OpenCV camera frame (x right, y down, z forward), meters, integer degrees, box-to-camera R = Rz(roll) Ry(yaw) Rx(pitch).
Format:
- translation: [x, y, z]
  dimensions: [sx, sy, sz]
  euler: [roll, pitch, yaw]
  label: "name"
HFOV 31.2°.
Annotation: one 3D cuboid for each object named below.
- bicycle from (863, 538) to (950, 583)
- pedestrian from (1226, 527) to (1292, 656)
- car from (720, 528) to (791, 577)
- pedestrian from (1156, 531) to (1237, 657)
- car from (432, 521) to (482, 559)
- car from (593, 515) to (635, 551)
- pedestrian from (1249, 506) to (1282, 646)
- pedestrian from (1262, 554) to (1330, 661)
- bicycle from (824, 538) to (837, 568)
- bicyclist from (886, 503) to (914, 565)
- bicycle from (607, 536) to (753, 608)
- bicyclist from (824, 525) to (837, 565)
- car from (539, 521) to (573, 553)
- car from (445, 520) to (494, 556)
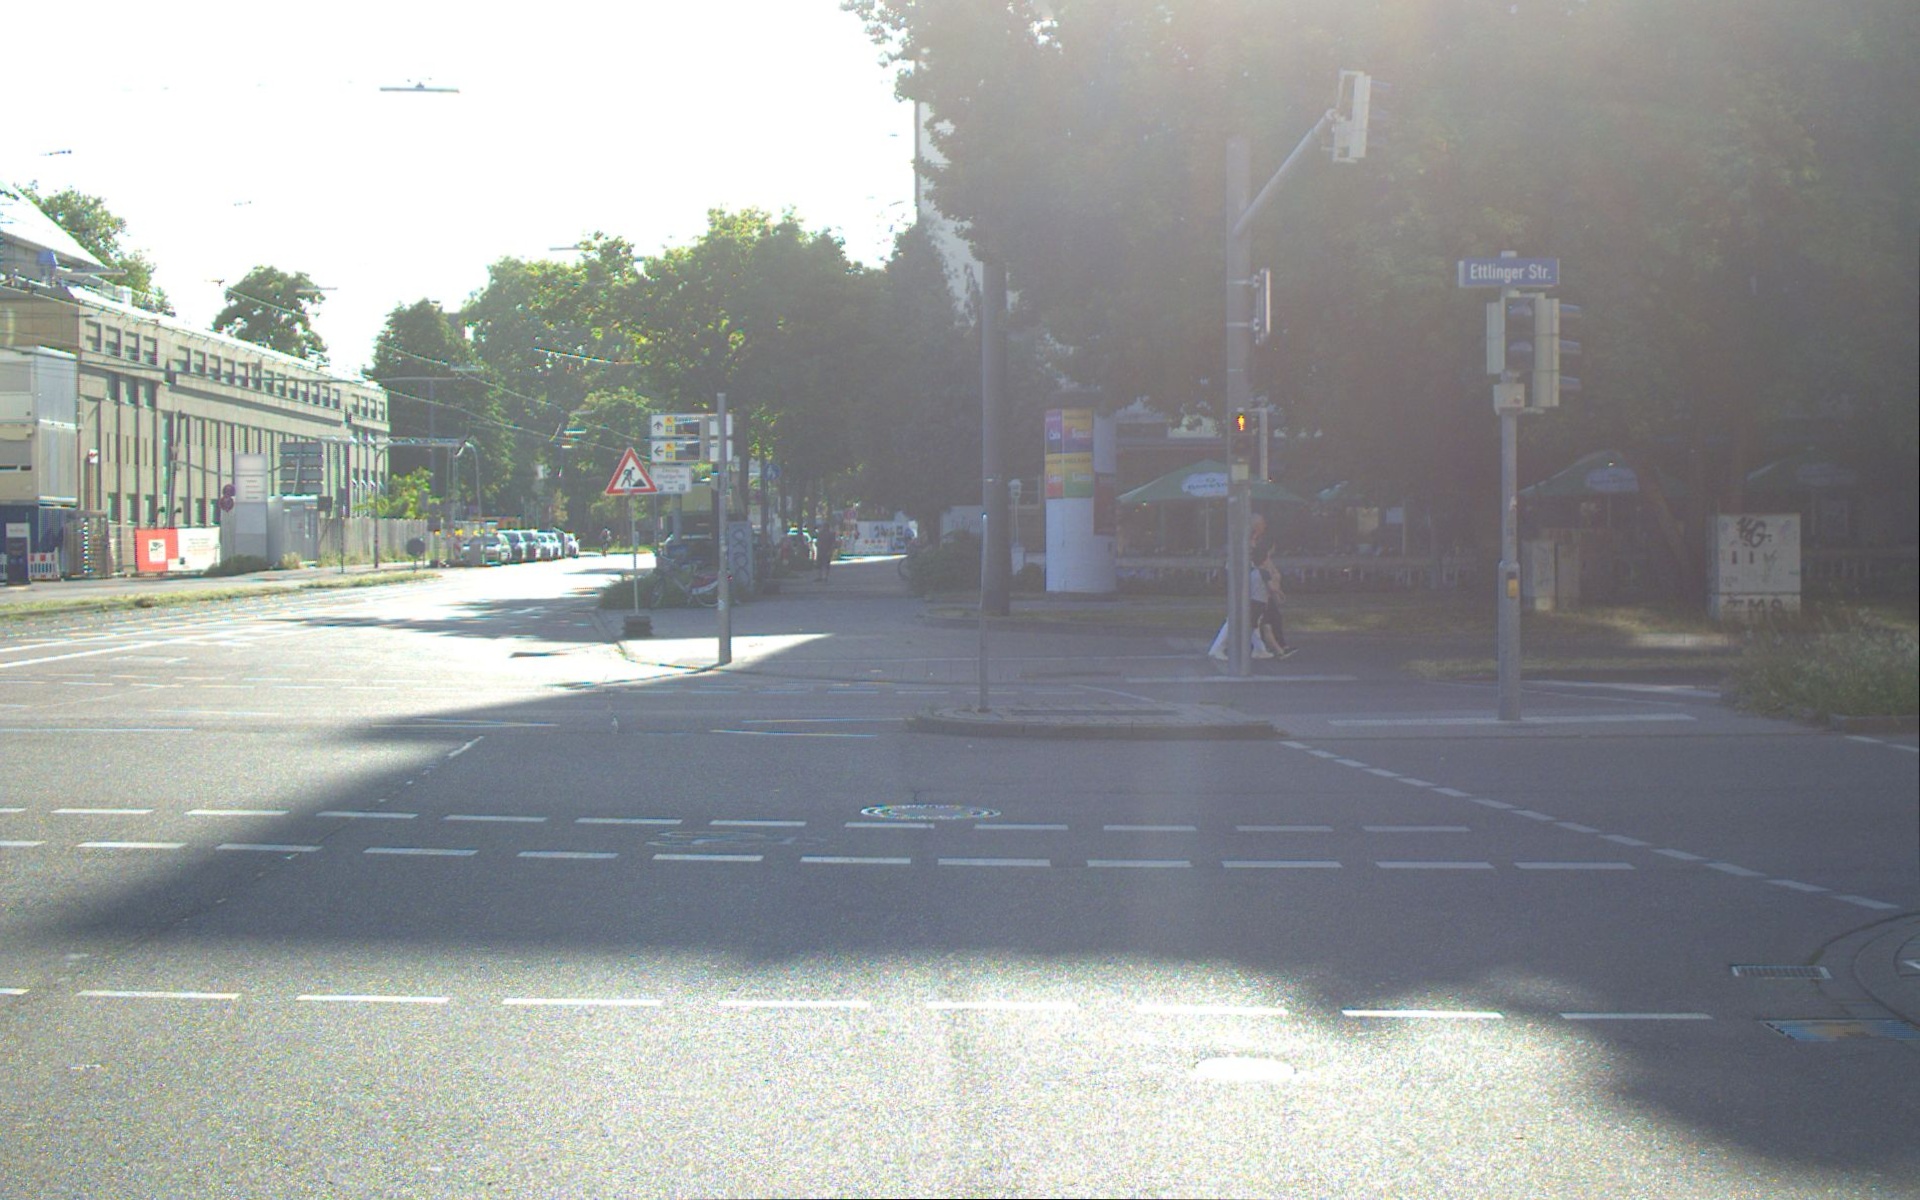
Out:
- translation: [-1.603, -1.178, 102.640]
  dimensions: [2.569, 1.284, 0.728]
  euler: [1, 0, 0]
  label: "bicycle"
- translation: [3.828, -0.110, 44.055]
  dimensions: [0.795, 1.634, 0.533]
  euler: [0, 1, 2]
  label: "pedestrian"
- translation: [-5.480, -1.290, 92.515]
  dimensions: [1.819, 1.274, 4.001]
  euler: [0, 1, -3]
  label: "car"
- translation: [2.982, -0.079, 43.446]
  dimensions: [0.984, 1.582, 0.660]
  euler: [0, 0, 1]
  label: "pedestrian"
- translation: [-22.757, -2.721, 155.713]
  dimensions: [1.731, 1.647, 4.000]
  euler: [0, 1, -1]
  label: "car"
- translation: [-19.749, -3.817, 196.512]
  dimensions: [1.993, 2.007, 4.000]
  euler: [1, 1, -1]
  label: "car"
- translation: [3.958, -0.315, 44.473]
  dimensions: [0.361, 1.798, 0.506]
  euler: [0, 1, 11]
  label: "pedestrian"
- translation: [4.232, 0.092, 43.374]
  dimensions: [0.752, 1.328, 0.743]
  euler: [-1, 1, -2]
  label: "pedestrian"
- translation: [-3.703, -1.348, 98.515]
  dimensions: [0.324, 0.865, 1.483]
  euler: [0, 1, -1]
  label: "bicycle"
- translation: [-1.795, -1.956, 102.651]
  dimensions: [0.804, 1.838, 0.731]
  euler: [0, 1, -1]
  label: "bicyclist"
- translation: [-5.470, -0.548, 67.135]
  dimensions: [2.748, 1.363, 0.630]
  euler: [1, 0, 11]
  label: "bicycle"
- translation: [-3.712, -1.572, 98.341]
  dimensions: [0.318, 1.124, 0.291]
  euler: [0, 1, 6]
  label: "bicyclist"
- translation: [-22.821, -3.567, 194.132]
  dimensions: [1.483, 1.744, 4.000]
  euler: [-1, 1, -1]
  label: "car"
- translation: [-22.783, -2.878, 159.871]
  dimensions: [1.731, 1.647, 4.000]
  euler: [0, 1, -1]
  label: "car"
